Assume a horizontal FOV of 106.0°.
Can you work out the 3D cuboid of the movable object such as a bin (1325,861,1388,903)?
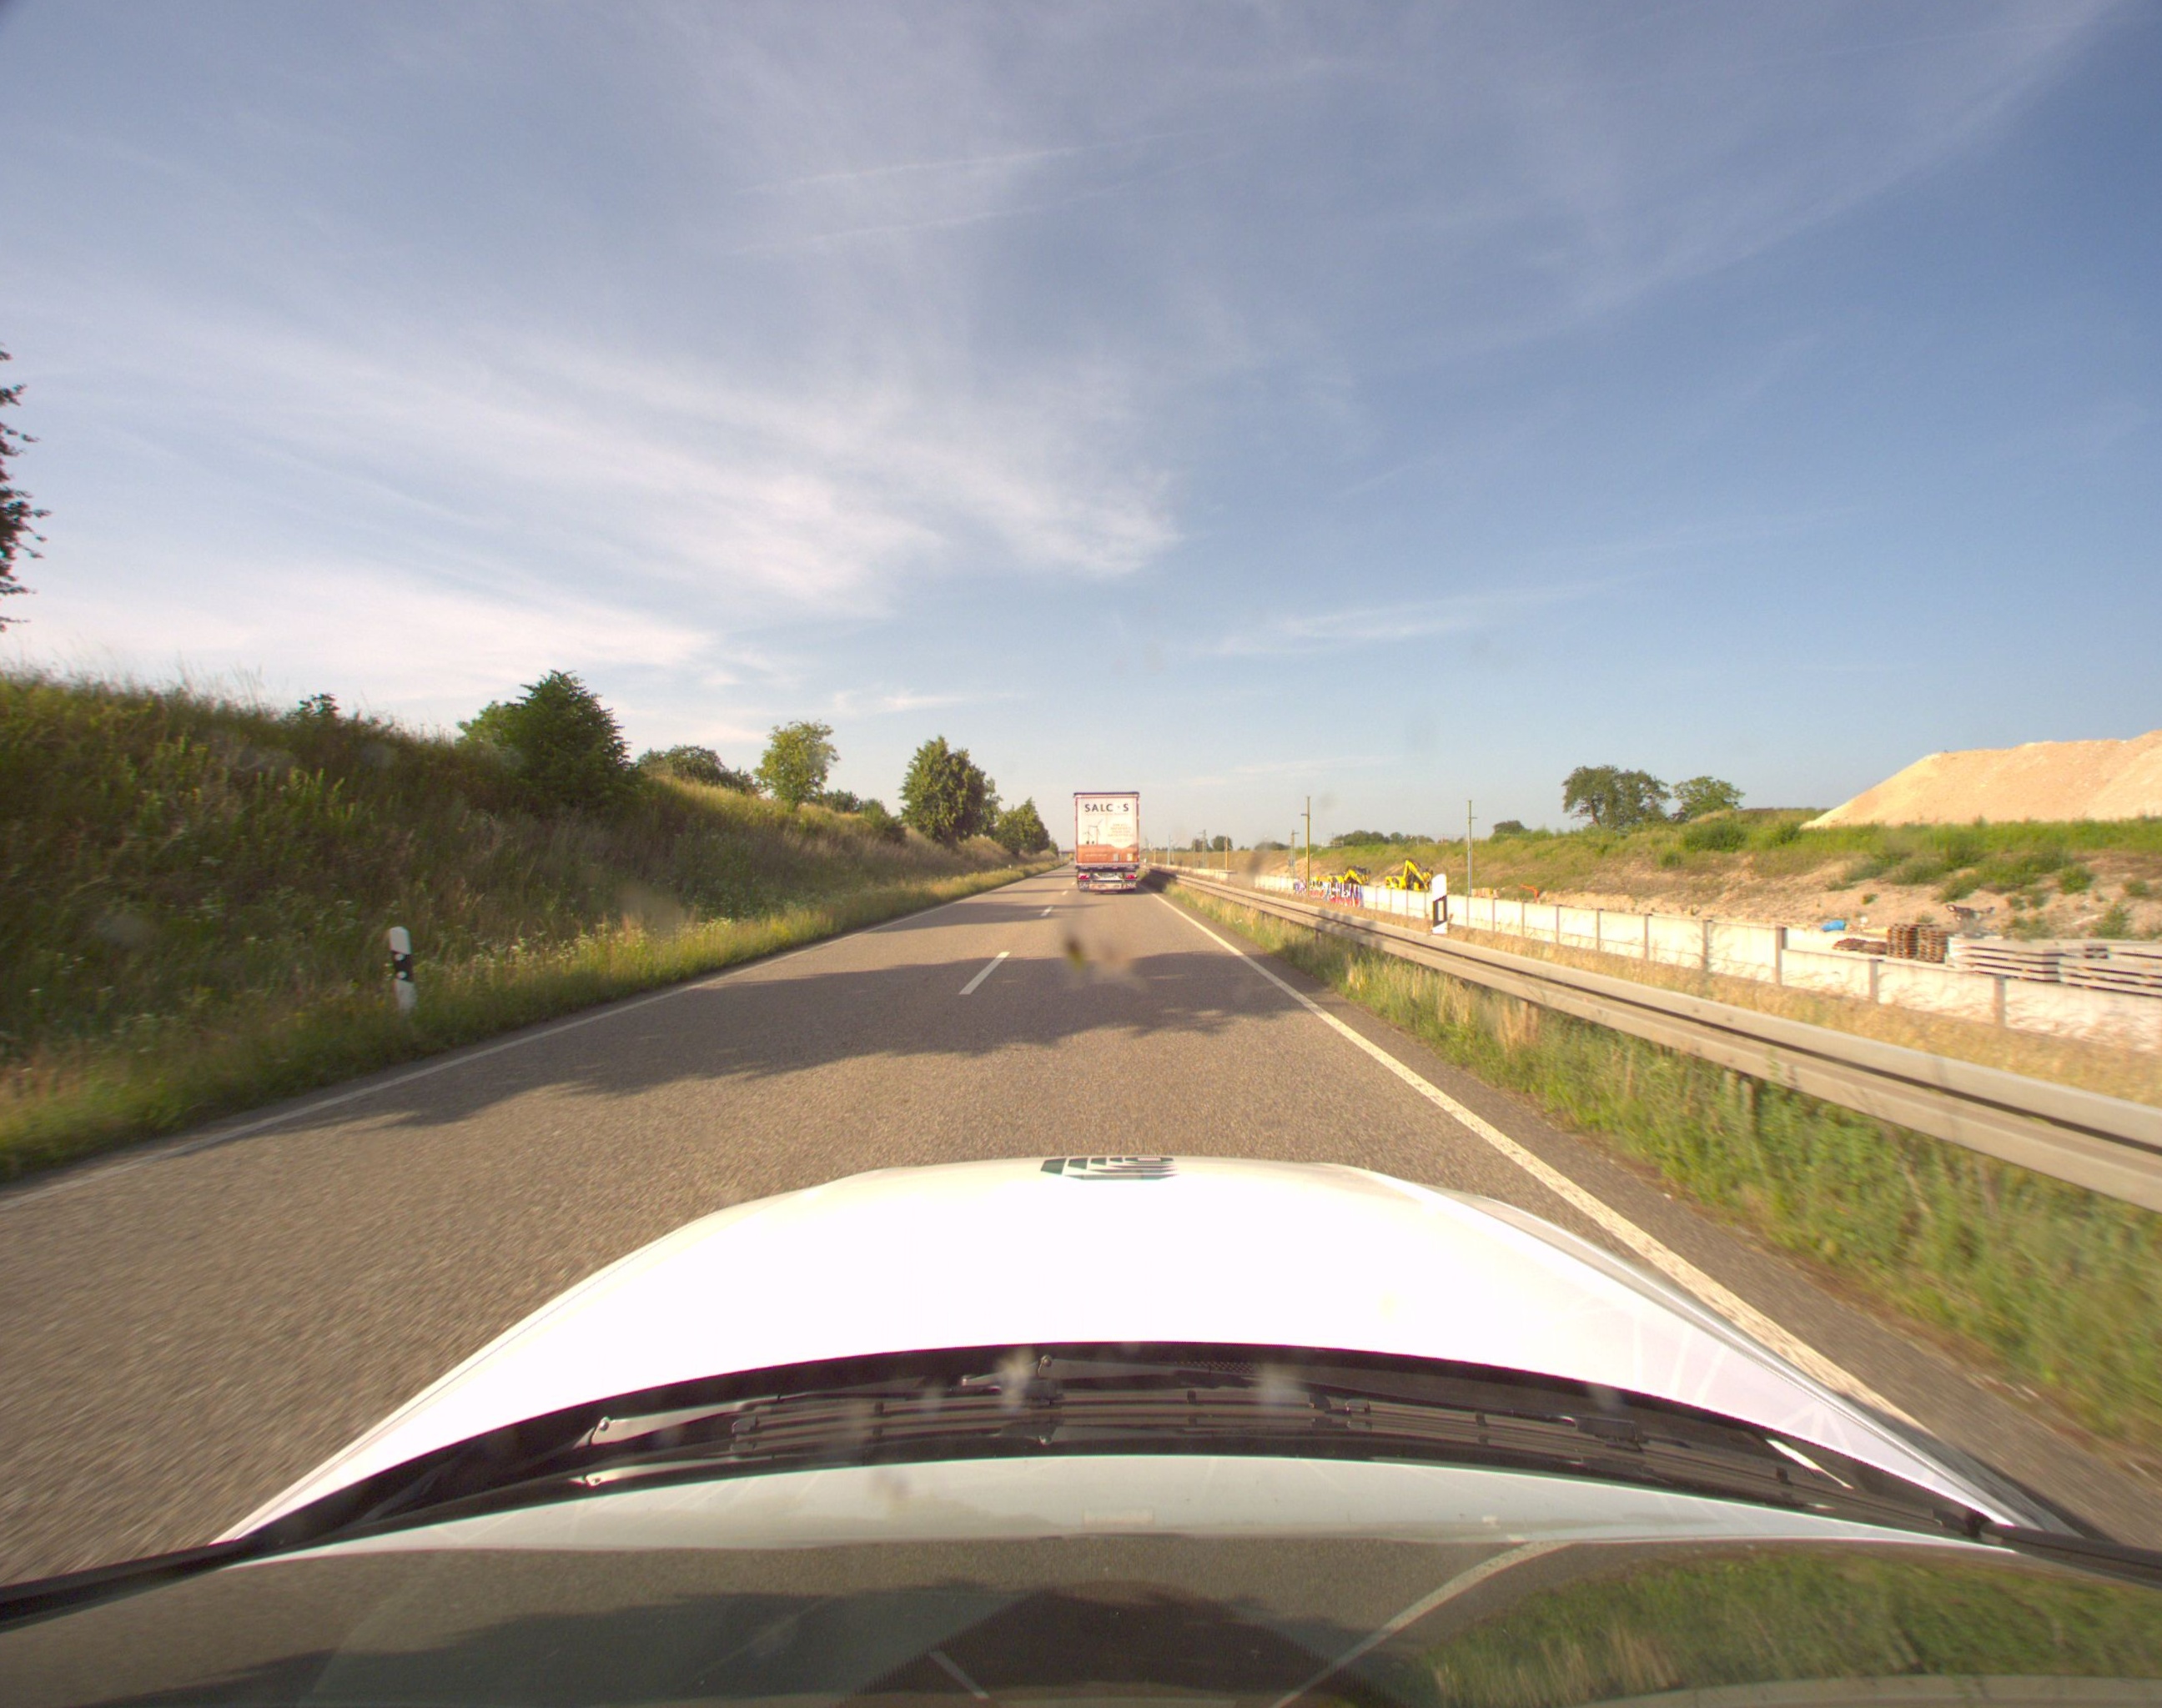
[{"bbox_3d":[22.864,2.222,68.046,2.612,3.239,8.074,0,0,1],"label":"movable object such as a bin"}]

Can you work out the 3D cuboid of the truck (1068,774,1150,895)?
[{"bbox_3d":[1.255,-0.773,36.109,3.141,4.688,8.445,-1,0,2],"label":"truck"}]

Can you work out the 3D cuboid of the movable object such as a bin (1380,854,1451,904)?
[{"bbox_3d":[27.301,1.948,66.789,2.787,3.886,7.538,0,0,1],"label":"movable object such as a bin"}]
